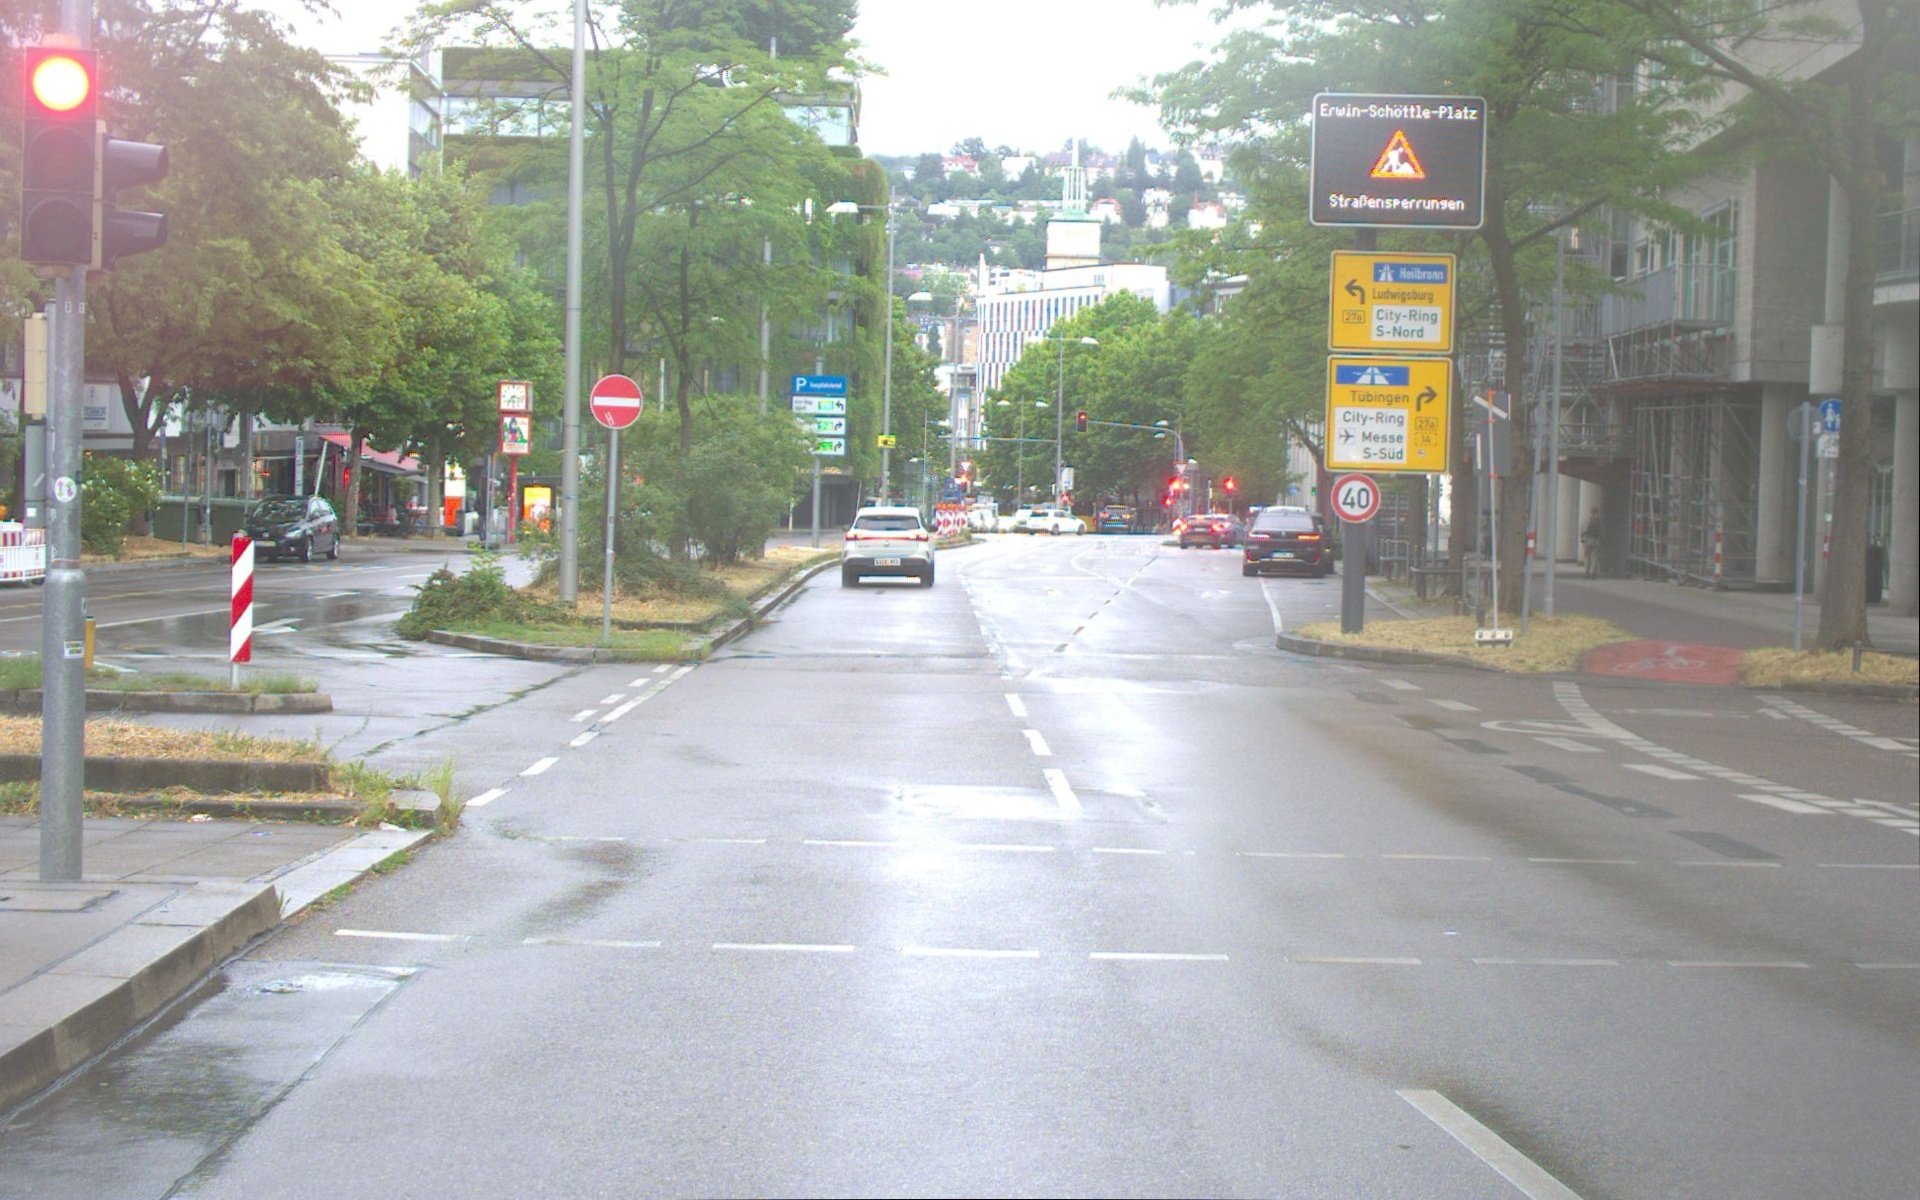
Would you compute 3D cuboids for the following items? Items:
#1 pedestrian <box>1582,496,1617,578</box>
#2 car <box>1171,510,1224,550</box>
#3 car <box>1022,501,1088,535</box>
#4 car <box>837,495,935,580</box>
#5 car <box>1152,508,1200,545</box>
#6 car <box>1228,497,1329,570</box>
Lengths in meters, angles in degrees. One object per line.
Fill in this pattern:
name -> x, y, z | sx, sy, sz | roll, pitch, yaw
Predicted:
pedestrian -> 15.021, -1.474, 80.751 | 0.775, 1.914, 0.702 | 1, 0, 10
car -> 10.720, -3.143, 155.323 | 1.993, 1.718, 4.000 | 1, 0, -1
car -> 5.436, -4.671, 196.336 | 1.997, 1.752, 3.993 | 3, 1, 31
car -> -1.549, -1.288, 70.774 | 1.828, 1.634, 4.301 | 2, 1, -3
car -> 10.457, -3.547, 166.795 | 1.993, 1.730, 4.000 | 1, 0, -1
car -> 7.758, -1.630, 83.420 | 2.339, 1.685, 3.999 | 1, 2, 6
